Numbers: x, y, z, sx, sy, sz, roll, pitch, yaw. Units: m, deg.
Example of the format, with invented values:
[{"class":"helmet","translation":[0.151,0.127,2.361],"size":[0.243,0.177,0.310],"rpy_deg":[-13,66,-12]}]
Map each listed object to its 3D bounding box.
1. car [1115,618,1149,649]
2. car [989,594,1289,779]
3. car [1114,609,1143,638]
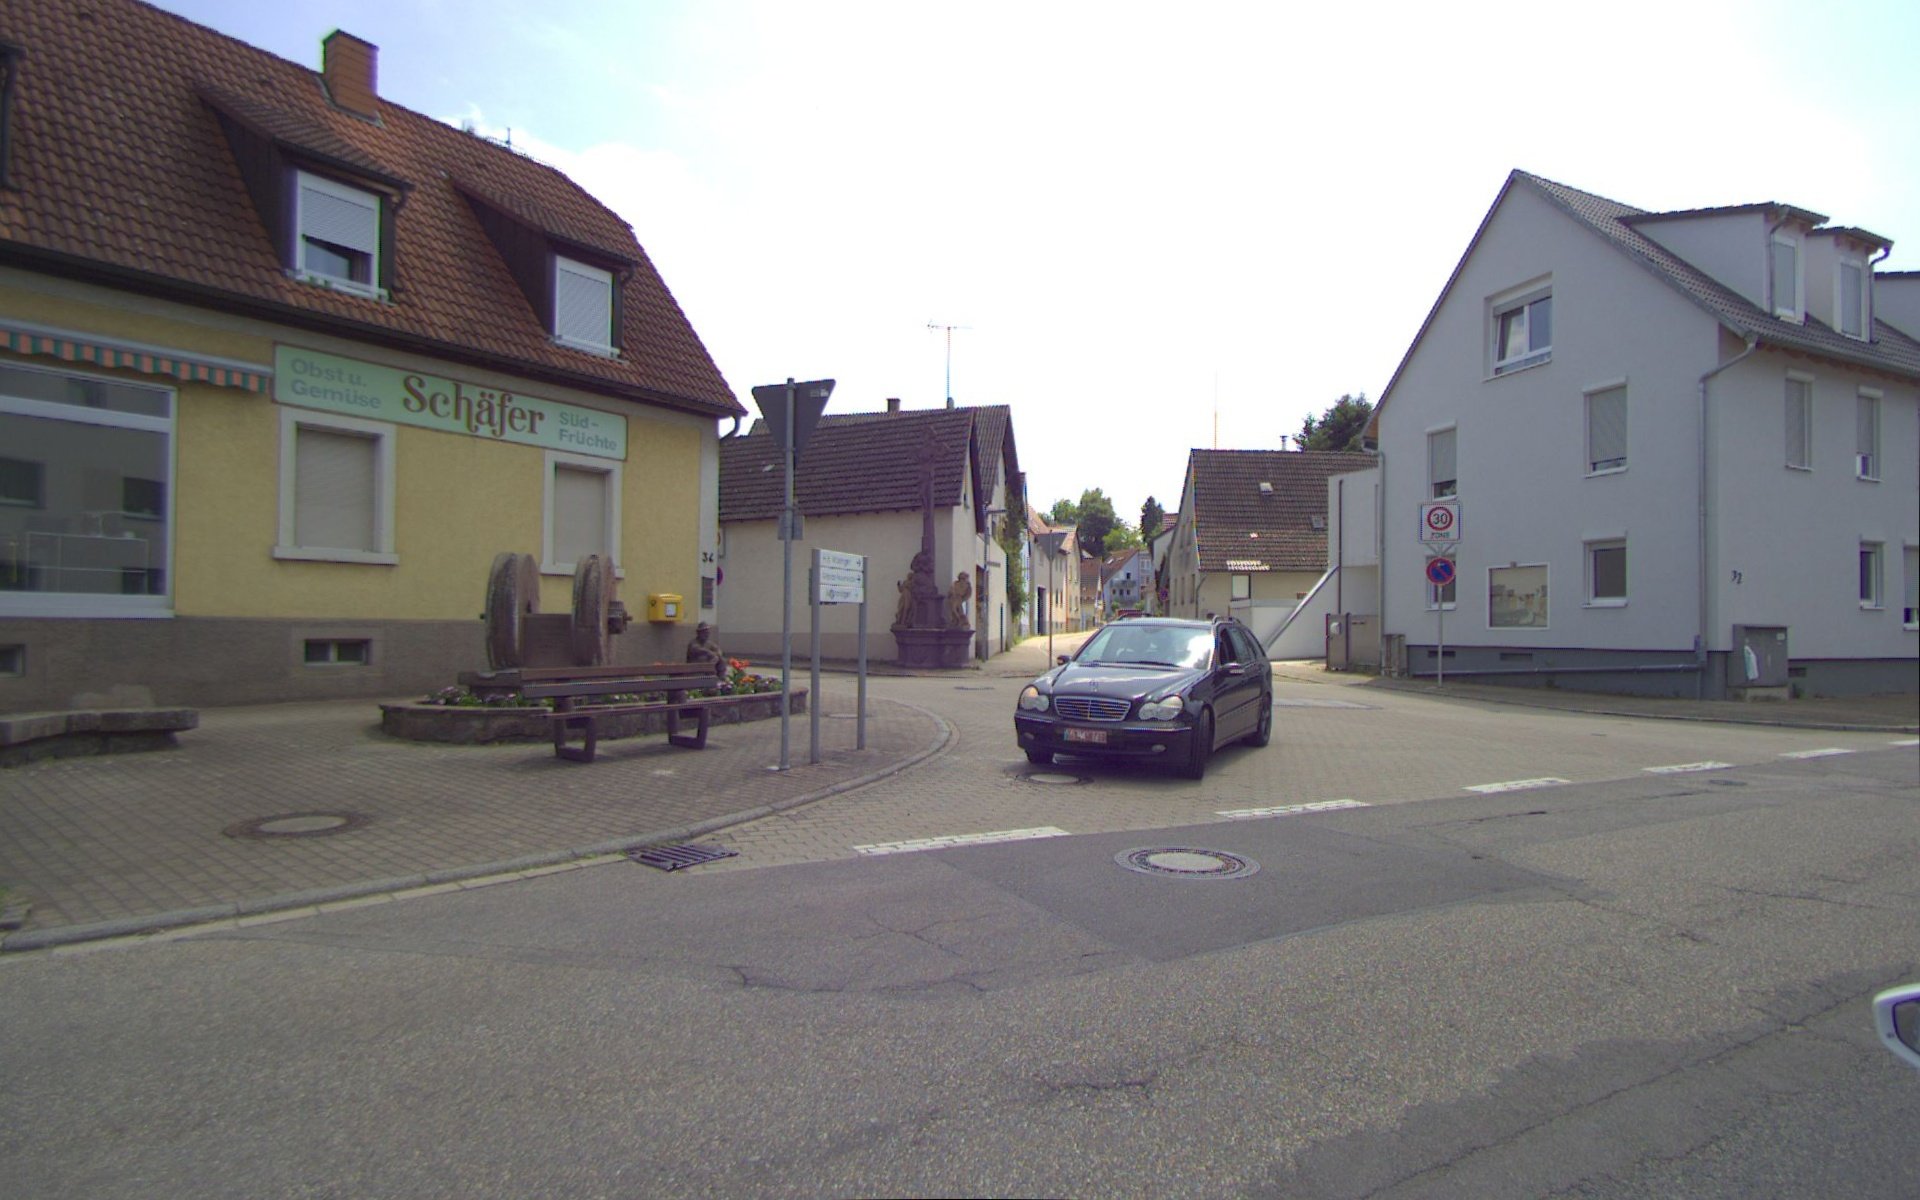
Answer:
[{"class":"car","translation":[9.396,1.825,54.980],"size":[1.461,1.550,3.478],"rpy_deg":[2,-2,4]},{"class":"car","translation":[2.113,0.789,10.467],"size":[1.780,1.430,4.632],"rpy_deg":[2,-2,27]},{"class":"car","translation":[10.100,1.444,60.472],"size":[1.369,1.656,3.478],"rpy_deg":[2,-2,4]}]
